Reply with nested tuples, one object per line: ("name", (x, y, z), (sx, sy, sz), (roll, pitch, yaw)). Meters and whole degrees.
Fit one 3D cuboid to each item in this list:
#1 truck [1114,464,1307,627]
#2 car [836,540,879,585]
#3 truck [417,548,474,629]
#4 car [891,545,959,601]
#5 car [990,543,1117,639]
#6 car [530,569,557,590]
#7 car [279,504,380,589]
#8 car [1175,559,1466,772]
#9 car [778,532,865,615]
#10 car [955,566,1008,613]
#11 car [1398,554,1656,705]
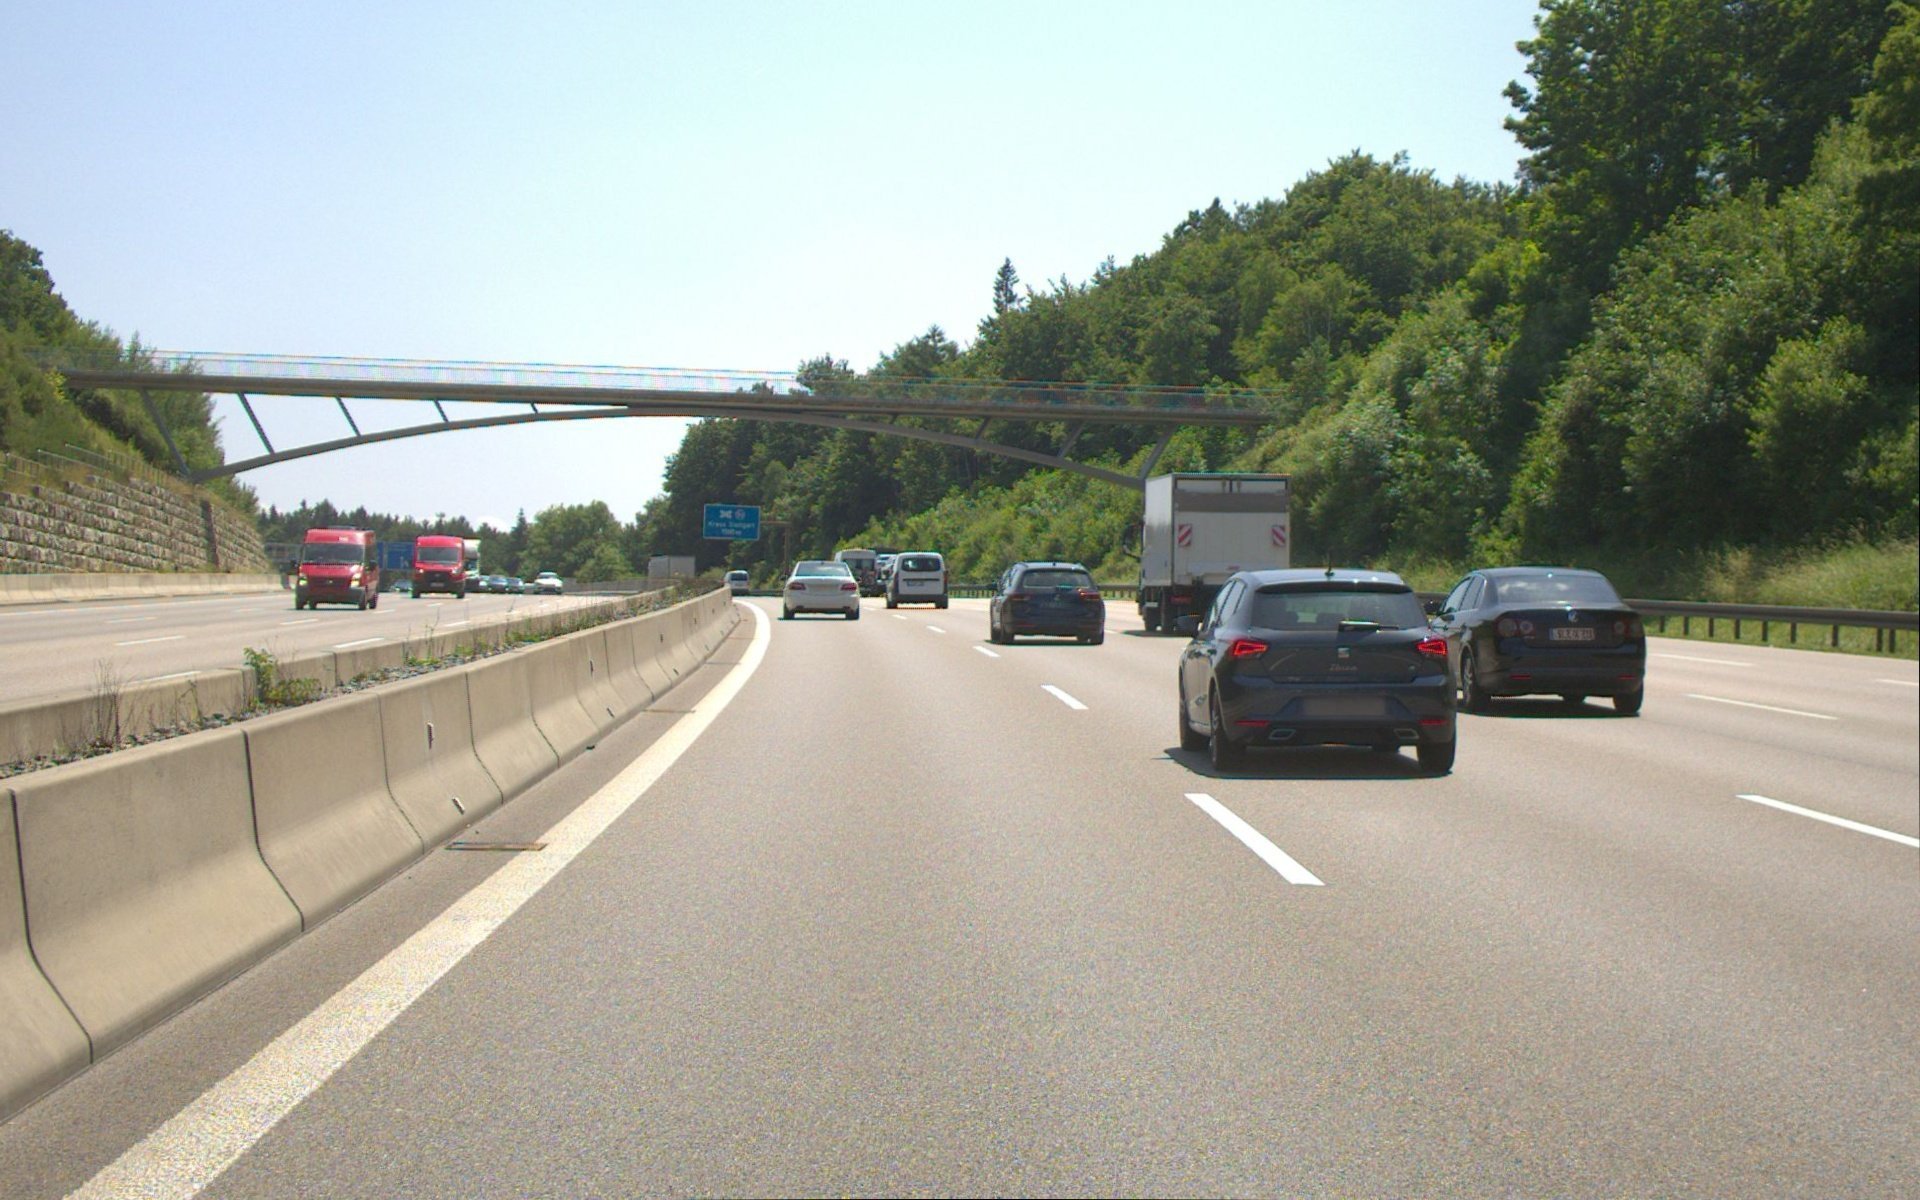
("truck", (5.073, -1.119, 71.049), (2.985, 3.156, 7.575), (0, 1, -3))
("car", (-5.473, -1.990, 184.403), (2.265, 2.363, 4.702), (0, 0, -2))
("truck", (-20.614, -0.497, 137.527), (2.109, 2.966, 7.017), (1, 2, -9))
("car", (-1.152, -0.893, 110.640), (2.103, 1.738, 4.688), (1, 1, -2))
("car", (1.620, -0.193, 61.153), (1.993, 1.628, 4.760), (1, 1, -2))
("car", (-30.503, -1.521, 251.852), (1.900, 1.491, 4.806), (0, 1, -6))
("car", (-17.939, -1.525, 98.031), (1.993, 2.328, 5.544), (1, 1, -2))
("car", (2.592, 0.429, 25.502), (1.708, 1.428, 4.000), (1, 1, 0))
("car", (-3.474, -0.639, 85.733), (2.012, 1.839, 4.000), (1, -3, -4))
("car", (0.924, -0.459, 148.557), (2.145, 1.851, 4.001), (1, 2, -1))
("car", (5.714, 0.252, 35.198), (1.665, 1.403, 4.903), (1, 1, -2))
